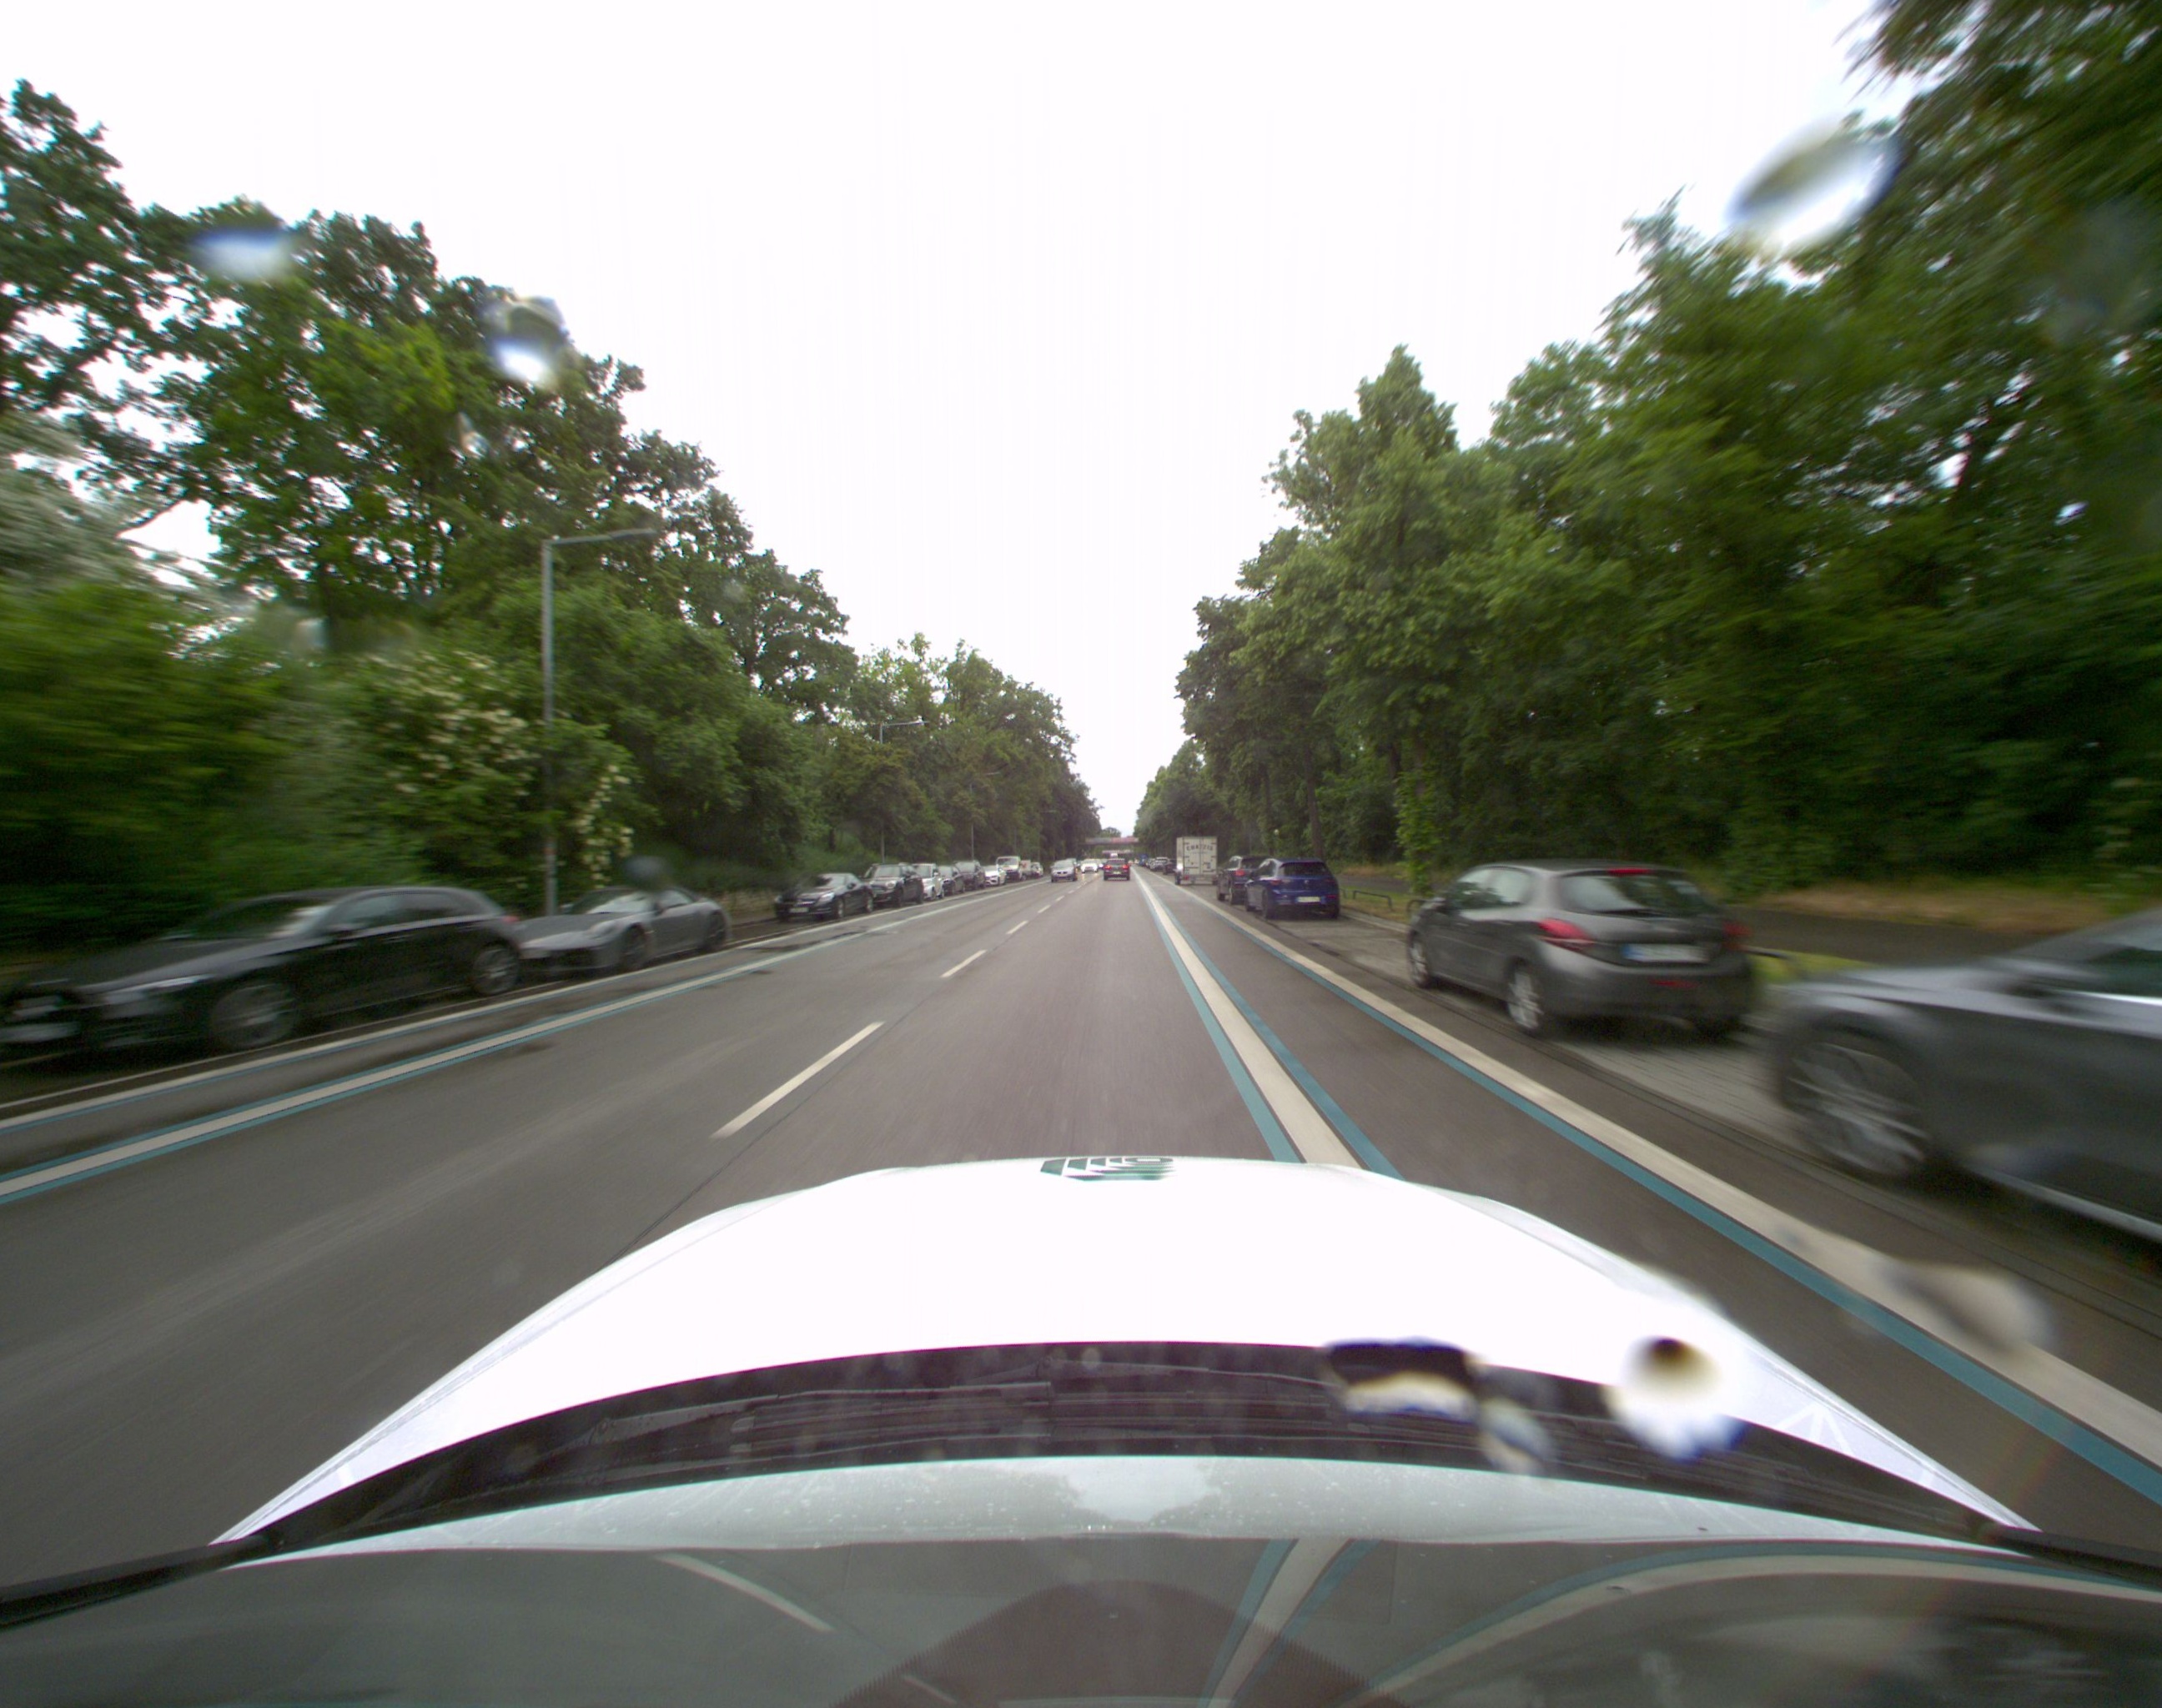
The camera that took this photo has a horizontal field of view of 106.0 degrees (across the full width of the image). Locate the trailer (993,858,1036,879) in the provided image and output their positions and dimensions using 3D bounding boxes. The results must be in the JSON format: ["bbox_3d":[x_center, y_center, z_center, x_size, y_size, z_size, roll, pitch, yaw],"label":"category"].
[{"bbox_3d":[-5.479,1.213,67.313,1.609,1.629,3.696,-2,0,34],"label":"trailer"}]

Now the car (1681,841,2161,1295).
[{"bbox_3d":[4.360,0.677,2.547,1.788,1.450,4.430,-1,0,2],"label":"car"}]

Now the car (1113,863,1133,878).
[{"bbox_3d":[4.358,1.746,84.588,1.875,1.466,3.999,1,0,0],"label":"car"}]

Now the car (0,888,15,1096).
[{"bbox_3d":[-8.772,1.014,4.040,1.595,1.510,3.980,-1,0,4],"label":"car"}]

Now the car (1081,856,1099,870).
[{"bbox_3d":[1.027,1.045,92.363,1.828,1.517,4.002,-1,0,2],"label":"car"}]

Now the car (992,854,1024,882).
[{"bbox_3d":[-5.525,1.070,62.287,1.933,2.014,4.739,-1,0,0],"label":"car"}]

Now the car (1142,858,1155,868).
[{"bbox_3d":[10.561,1.423,127.234,1.985,1.562,4.003,-1,0,3],"label":"car"}]

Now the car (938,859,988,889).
[{"bbox_3d":[-6.535,1.076,45.416,1.871,1.561,4.472,-1,0,3],"label":"car"}]

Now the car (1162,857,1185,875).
[{"bbox_3d":[8.201,1.026,72.440,1.715,1.525,4.003,-1,0,3],"label":"car"}]

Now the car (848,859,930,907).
[{"bbox_3d":[-6.852,0.991,29.461,1.688,1.584,4.143,-1,0,4],"label":"car"}]

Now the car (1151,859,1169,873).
[{"bbox_3d":[9.340,1.413,96.755,1.889,1.606,4.003,-1,0,3],"label":"car"}]

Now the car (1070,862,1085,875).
[{"bbox_3d":[-0.632,2.497,140.027,2.149,2.014,5.036,-1,0,4],"label":"car"}]

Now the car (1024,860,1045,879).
[{"bbox_3d":[-4.480,1.502,79.089,1.569,1.770,3.418,-1,0,3],"label":"car"}]

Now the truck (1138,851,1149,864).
[{"bbox_3d":[12.816,0.655,167.104,2.104,2.599,4.304,-1,0,3],"label":"truck"}]

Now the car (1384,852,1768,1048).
[{"bbox_3d":[4.480,0.735,8.169,1.608,1.470,4.003,0,0,3],"label":"car"}]

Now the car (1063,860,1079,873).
[{"bbox_3d":[-1.582,1.996,131.983,2.149,2.014,5.036,-1,0,4],"label":"car"}]

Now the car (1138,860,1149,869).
[{"bbox_3d":[12.243,2.030,159.044,1.985,1.772,4.003,-3,-1,3],"label":"car"}]

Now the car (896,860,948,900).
[{"bbox_3d":[-6.593,1.050,34.017,1.455,1.571,2.985,-1,0,2],"label":"car"}]

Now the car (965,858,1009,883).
[{"bbox_3d":[-5.929,1.017,51.911,1.985,1.488,4.472,-1,0,3],"label":"car"}]

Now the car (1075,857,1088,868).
[{"bbox_3d":[0.105,1.681,156.553,2.149,2.014,5.036,-1,0,4],"label":"car"}]

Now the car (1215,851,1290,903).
[{"bbox_3d":[5.460,0.702,26.377,1.707,1.513,3.977,-1,0,2],"label":"car"}]

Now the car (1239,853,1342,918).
[{"bbox_3d":[5.231,0.722,20.845,1.675,1.481,4.321,0,0,2],"label":"car"}]

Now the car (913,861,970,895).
[{"bbox_3d":[-6.661,1.118,39.304,1.801,1.488,4.470,-1,0,2],"label":"car"}]

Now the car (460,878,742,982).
[{"bbox_3d":[-7.551,1.111,13.471,1.862,1.304,4.473,-1,0,2],"label":"car"}]

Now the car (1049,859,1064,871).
[{"bbox_3d":[-3.240,1.443,107.254,1.666,1.514,3.632,0,0,2],"label":"car"}]

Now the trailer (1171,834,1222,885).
[{"bbox_3d":[6.111,0.288,43.716,2.125,2.560,4.297,-1,0,0],"label":"trailer"}]

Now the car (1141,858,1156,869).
[{"bbox_3d":[10.132,1.429,122.451,1.985,1.562,4.003,-1,0,3],"label":"car"}]

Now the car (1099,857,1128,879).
[{"bbox_3d":[2.177,0.956,55.336,1.865,1.441,4.296,0,-2,1],"label":"car"}]

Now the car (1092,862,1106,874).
[{"bbox_3d":[2.576,1.968,114.463,1.699,1.572,4.004,-1,0,3],"label":"car"}]

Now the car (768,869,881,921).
[{"bbox_3d":[-7.428,1.149,24.005,1.688,1.300,4.197,-1,0,4],"label":"car"}]

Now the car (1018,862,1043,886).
[{"bbox_3d":[-4.452,1.765,72.606,1.933,2.014,4.739,-1,0,0],"label":"car"}]

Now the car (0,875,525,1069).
[{"bbox_3d":[-8.447,1.023,8.671,1.985,1.452,4.143,-1,0,4],"label":"car"}]

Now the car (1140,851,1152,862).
[{"bbox_3d":[12.013,0.533,151.028,1.986,2.014,4.001,-1,-1,2],"label":"car"}]

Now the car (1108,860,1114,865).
[{"bbox_3d":[7.420,2.148,200.716,1.373,1.131,3.315,-1,0,3],"label":"car"}]

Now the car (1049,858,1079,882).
[{"bbox_3d":[-1.120,1.071,55.422,1.691,1.485,4.038,-2,0,3],"label":"car"}]

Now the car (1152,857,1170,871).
[{"bbox_3d":[9.002,1.116,92.149,1.889,1.606,4.003,-1,0,3],"label":"car"}]
